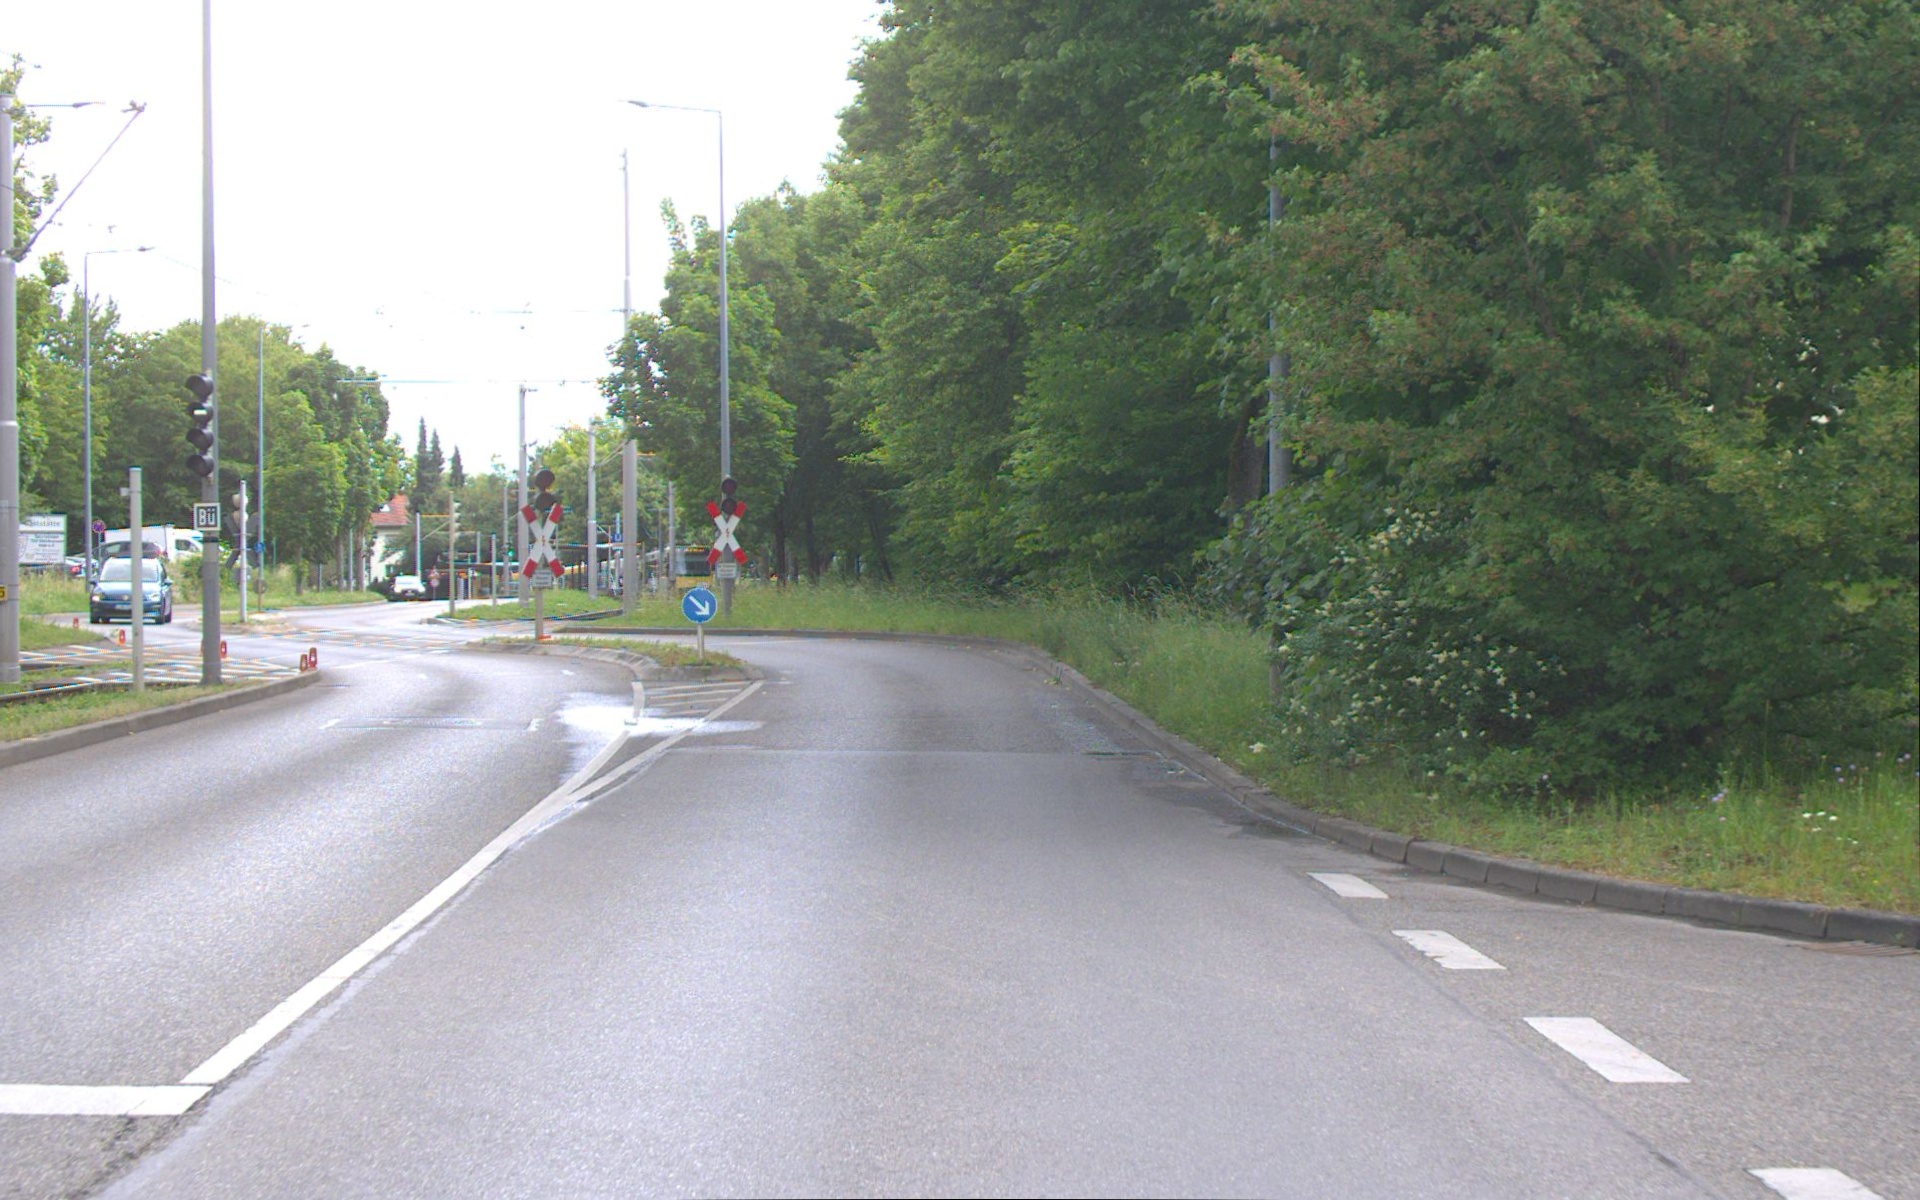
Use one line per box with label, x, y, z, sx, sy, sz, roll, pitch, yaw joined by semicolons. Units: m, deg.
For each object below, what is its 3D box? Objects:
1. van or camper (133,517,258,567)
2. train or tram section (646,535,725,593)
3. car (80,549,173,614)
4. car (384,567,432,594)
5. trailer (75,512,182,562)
van or camper;-34.810;-2.637;156.653;5.332;2.195;2.000;1;1;-5
train or tram section;-17.576;-2.302;217.430;3.007;3.299;34.719;1;1;-8
car;-20.877;-0.492;86.229;1.867;1.515;4.240;1;1;-8
car;-30.943;-1.089;192.804;1.993;1.433;4.426;-1;1;-1
trailer;-34.379;-2.593;142.214;3.986;2.007;1.908;1;1;-2
